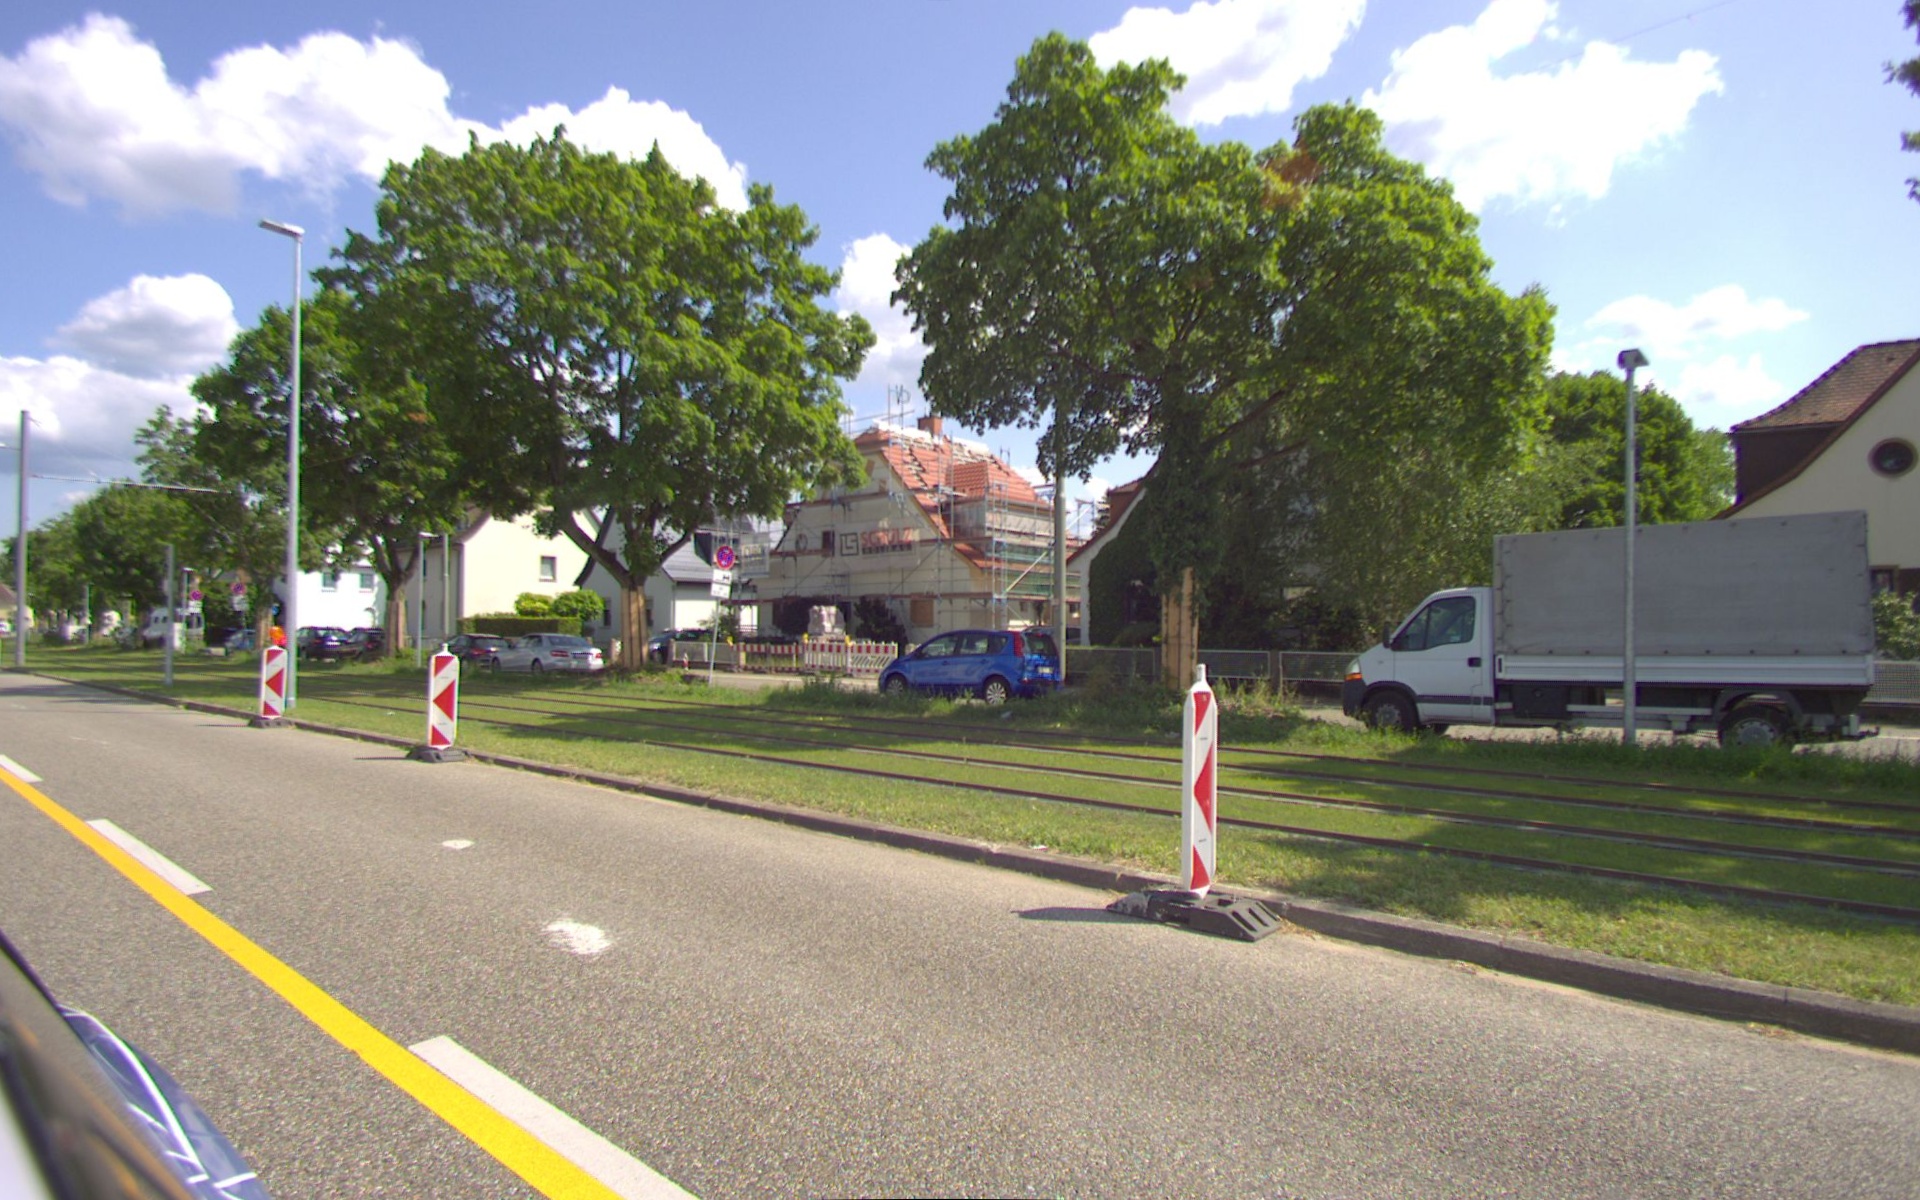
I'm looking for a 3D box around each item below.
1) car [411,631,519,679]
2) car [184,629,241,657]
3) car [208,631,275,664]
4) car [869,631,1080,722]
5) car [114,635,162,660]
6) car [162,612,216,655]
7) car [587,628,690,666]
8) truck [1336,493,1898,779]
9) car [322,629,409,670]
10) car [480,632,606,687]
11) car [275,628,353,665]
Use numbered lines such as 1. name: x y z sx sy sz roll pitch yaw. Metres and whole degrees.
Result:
1. car: -17.618 1.912 35.936 4.603 1.623 1.733 -2 -3 40
2. car: -44.650 2.550 60.408 4.603 1.623 1.733 -2 -3 40
3. car: -37.649 2.466 52.984 4.603 1.623 1.733 -2 -3 40
4. car: 0.216 1.442 20.200 4.047 1.623 1.733 -2 -3 40
5. car: -57.027 3.265 70.154 4.603 1.623 1.733 -2 -3 40
6. car: -48.847 2.104 64.110 4.603 2.636 1.733 -2 -3 40
7. car: -14.086 2.044 44.512 1.756 1.623 3.995 -2 -3 41
8. truck: 8.271 0.463 13.360 5.871 3.010 1.982 -2 -3 41
9. car: -25.187 2.071 42.832 4.603 1.623 1.733 -2 -3 40
10. car: -13.177 1.828 31.865 4.603 1.623 1.733 -2 -3 40
11. car: -29.606 2.096 46.335 4.603 1.623 1.733 -2 -3 40
